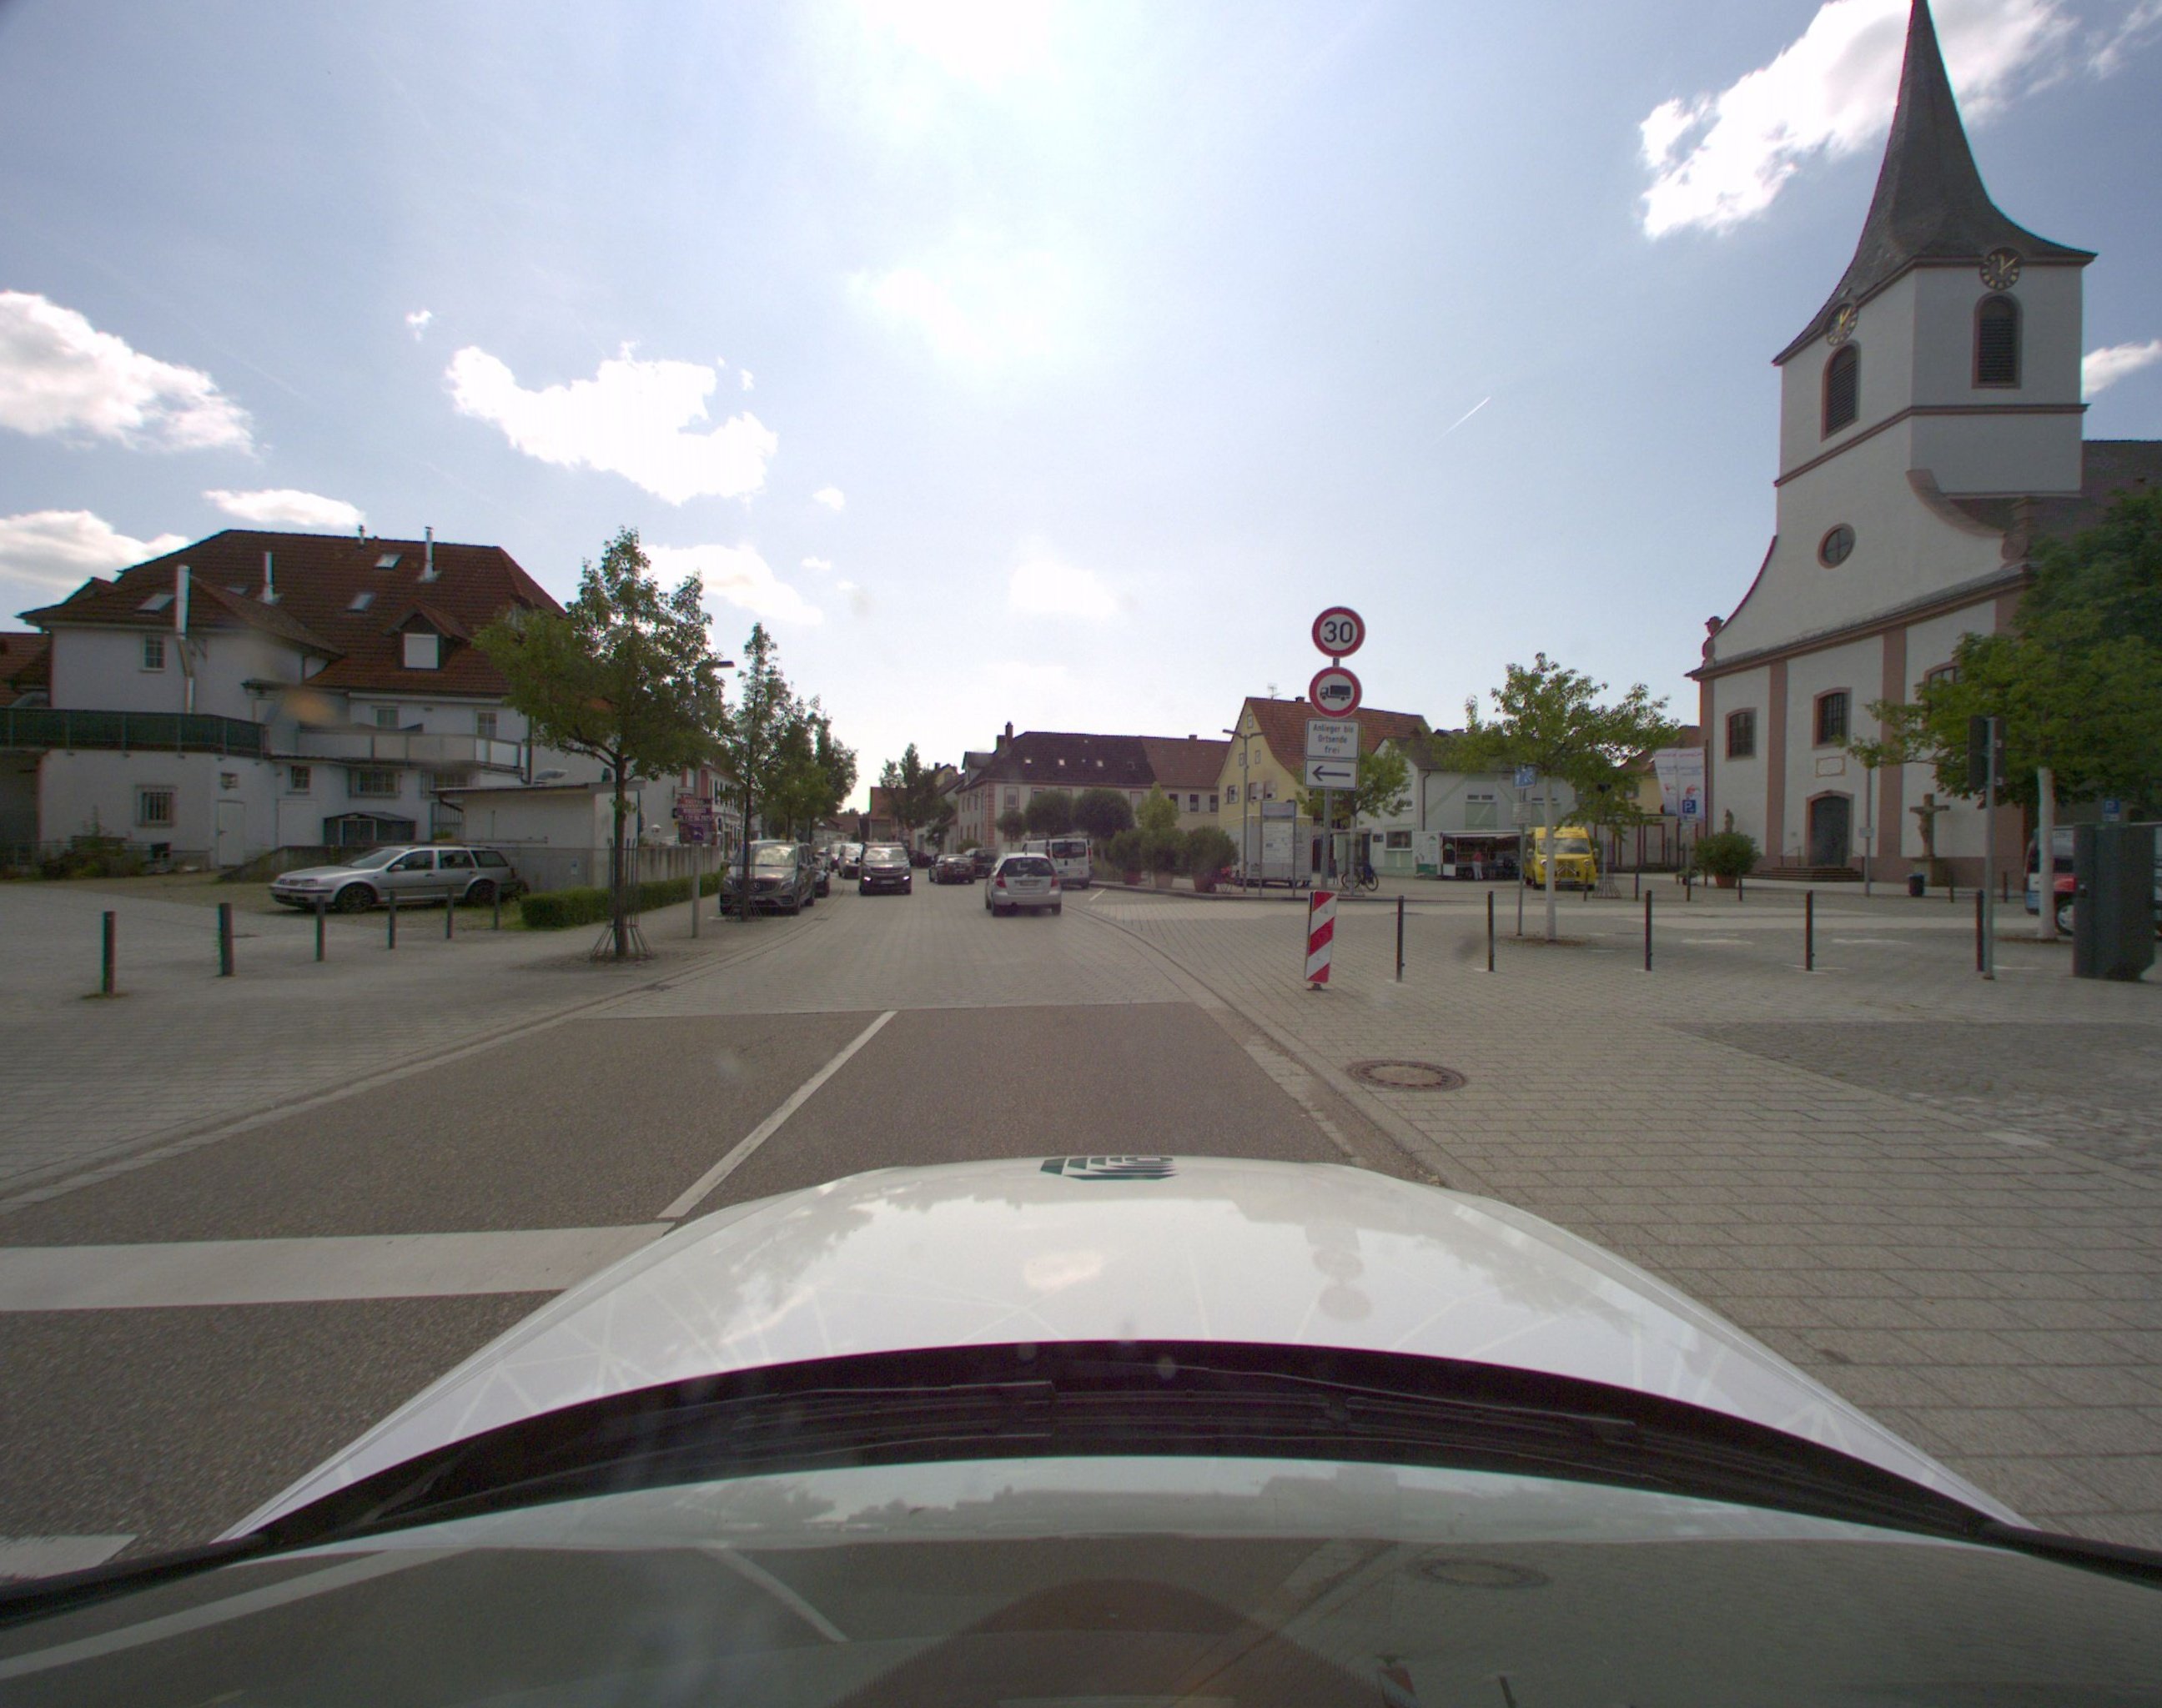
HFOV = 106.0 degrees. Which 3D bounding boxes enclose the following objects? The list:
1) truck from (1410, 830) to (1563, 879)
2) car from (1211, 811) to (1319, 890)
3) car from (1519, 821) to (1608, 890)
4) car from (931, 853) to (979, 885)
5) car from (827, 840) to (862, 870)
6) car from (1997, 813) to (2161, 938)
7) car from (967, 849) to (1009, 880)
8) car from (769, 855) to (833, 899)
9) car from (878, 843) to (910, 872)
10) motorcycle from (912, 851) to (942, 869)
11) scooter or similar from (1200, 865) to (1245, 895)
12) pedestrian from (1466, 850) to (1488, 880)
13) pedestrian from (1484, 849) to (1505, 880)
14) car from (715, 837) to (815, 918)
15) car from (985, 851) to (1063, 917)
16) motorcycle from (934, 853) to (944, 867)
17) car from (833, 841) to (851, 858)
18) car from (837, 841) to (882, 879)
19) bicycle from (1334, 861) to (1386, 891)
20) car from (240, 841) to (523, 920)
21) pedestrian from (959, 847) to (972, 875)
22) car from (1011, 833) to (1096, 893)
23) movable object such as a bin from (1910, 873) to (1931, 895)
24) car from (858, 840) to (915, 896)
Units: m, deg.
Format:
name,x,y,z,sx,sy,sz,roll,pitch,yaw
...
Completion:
name,x,y,z,sx,sy,sz,roll,pitch,yaw
truck,21.192,0.033,42.763,6.799,2.497,2.949,0,0,-9
car,7.611,-0.123,34.777,2.745,2.963,7.107,1,0,-2
car,19.439,0.039,33.139,2.620,2.477,7.006,0,0,27
car,-6.067,0.690,38.983,1.947,1.407,3.982,0,0,-14
car,-16.892,0.067,57.961,2.001,2.013,4.706,0,1,-21
car,18.274,0.353,12.679,1.986,2.013,5.498,0,0,2
car,-5.070,0.530,44.107,1.771,1.564,4.398,0,0,-13
car,-10.100,0.782,29.603,1.819,1.423,4.515,0,0,-14
car,-13.473,0.255,58.521,1.774,1.888,4.419,3,-1,-19
motorcycle,-12.423,0.481,65.687,2.199,1.395,0.877,-1,0,23
scooter or similar,4.362,0.796,25.150,1.141,0.881,0.813,0,0,-10
pedestrian,19.743,0.554,40.608,0.643,1.442,0.758,-1,-1,-10
pedestrian,20.744,0.504,40.890,0.559,1.540,0.812,0,0,-8
car,-8.654,0.565,22.742,1.989,1.990,5.019,0,0,-14
car,-1.619,0.735,21.942,1.768,1.594,3.988,0,0,-9
motorcycle,-11.840,0.509,67.822,0.526,1.123,1.058,0,0,-26
car,-27.170,-0.459,92.452,1.645,1.849,3.580,-1,0,-22
car,-12.532,0.289,45.889,2.001,2.013,4.706,0,1,-21
bicycle,10.858,0.834,31.765,0.756,1.068,2.098,0,0,-19
car,-15.672,0.513,18.596,1.977,1.496,4.459,3,1,21
pedestrian,-6.818,0.393,48.136,0.640,1.629,0.617,0,0,-17
car,-1.207,0.301,32.848,1.949,2.177,5.068,-2,1,-19
movable object such as a bin,27.080,0.977,26.263,0.293,0.699,0.364,0,0,-10
car,-7.538,0.478,31.943,1.994,2.013,4.722,0,1,-11
